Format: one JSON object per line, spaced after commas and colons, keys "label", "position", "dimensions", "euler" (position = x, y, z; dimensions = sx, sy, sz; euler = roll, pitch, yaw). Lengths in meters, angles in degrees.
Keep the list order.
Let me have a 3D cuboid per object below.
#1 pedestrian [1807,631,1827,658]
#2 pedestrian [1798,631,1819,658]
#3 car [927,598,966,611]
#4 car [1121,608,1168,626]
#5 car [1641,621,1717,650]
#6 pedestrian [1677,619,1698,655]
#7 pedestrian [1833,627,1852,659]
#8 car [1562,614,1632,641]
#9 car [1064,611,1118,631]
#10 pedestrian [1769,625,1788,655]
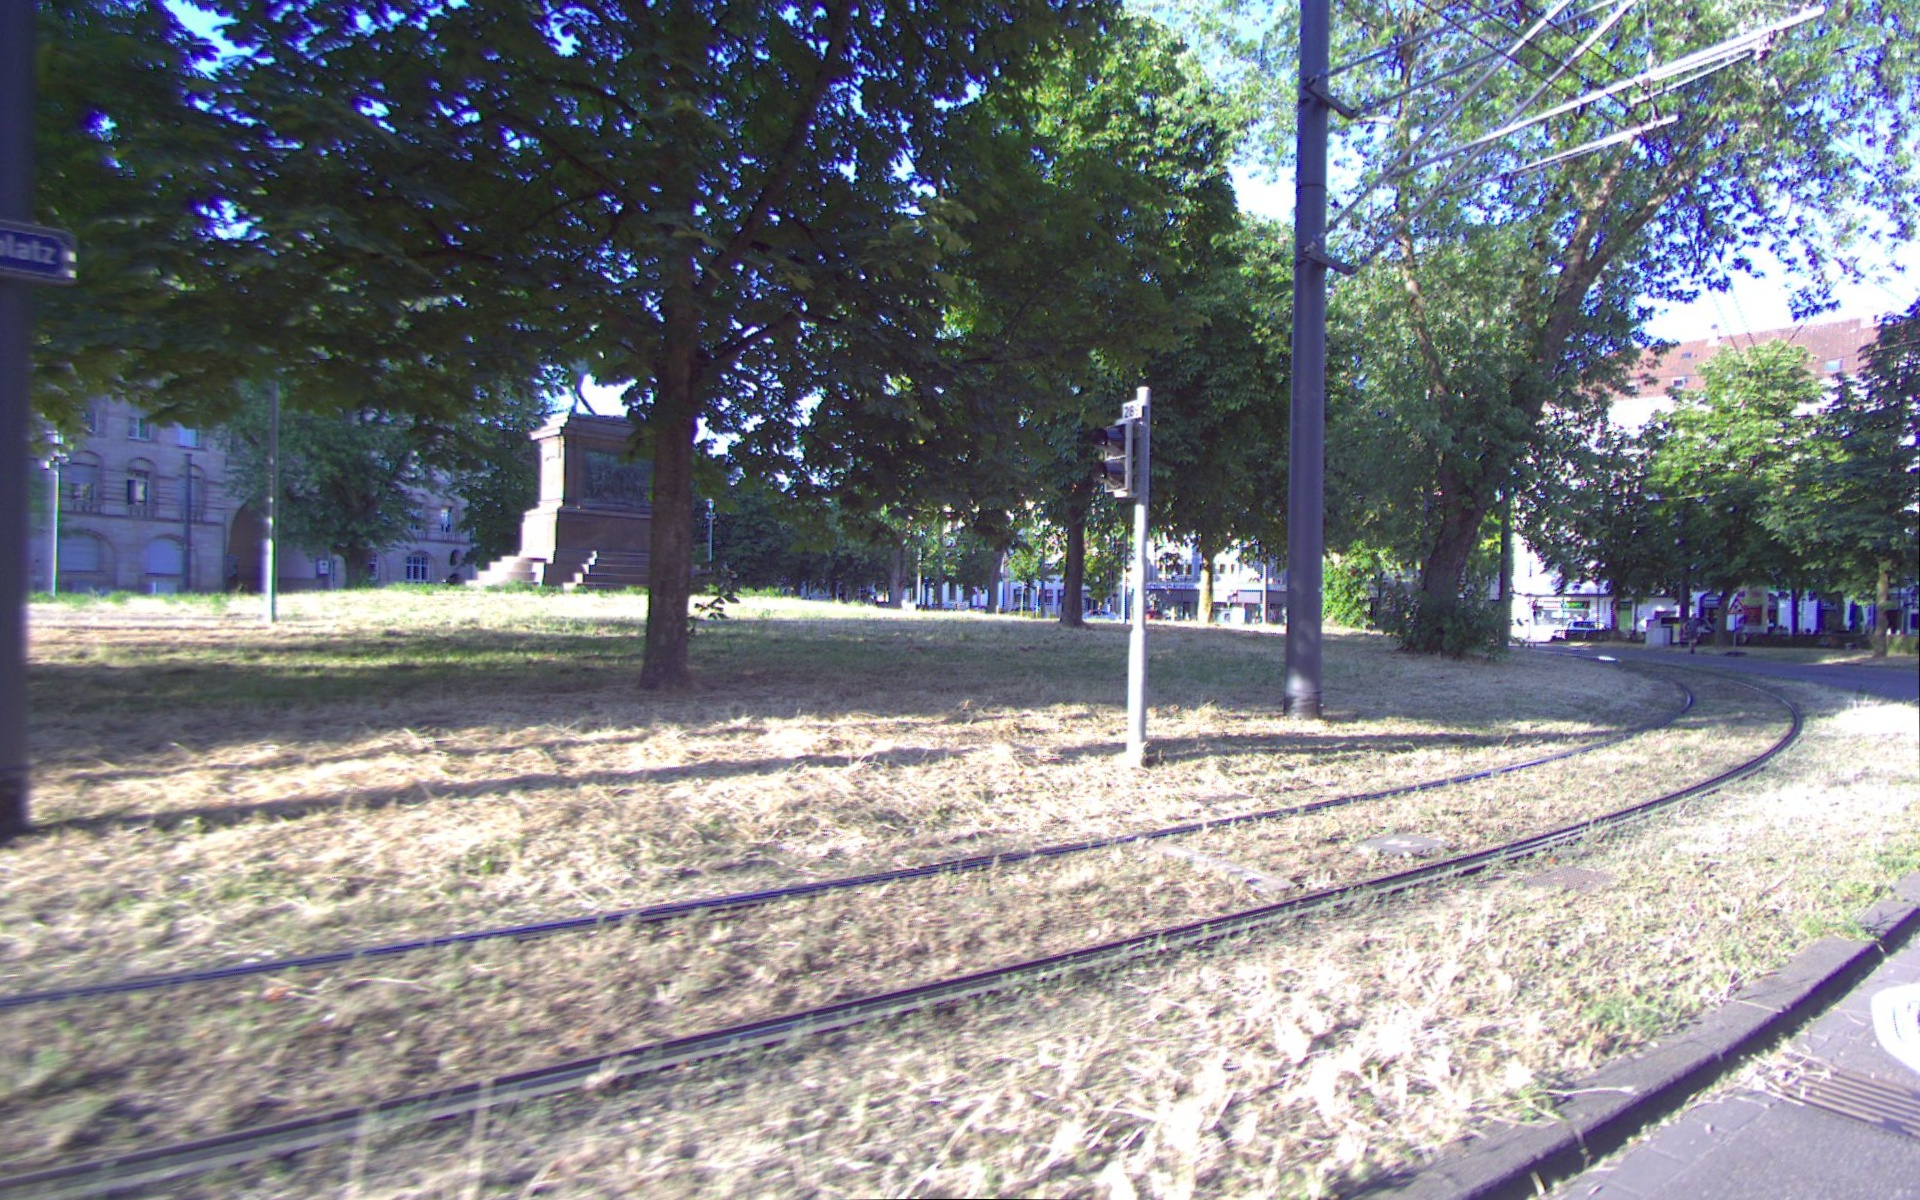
{"label": "pedestrian", "position": [45.787, 2.379, 53.665], "dimensions": [0.653, 1.370, 0.662], "euler": [1, 0, -35]}
{"label": "pedestrian", "position": [44.927, 2.354, 53.179], "dimensions": [0.653, 1.370, 0.662], "euler": [1, 0, -35]}
{"label": "car", "position": [-1.440, 0.454, 107.201], "dimensions": [3.901, 1.272, 1.598], "euler": [2, 1, 35]}
{"label": "car", "position": [17.679, 1.621, 96.237], "dimensions": [3.945, 1.483, 1.988], "euler": [2, 0, 44]}
{"label": "car", "position": [44.737, 2.195, 62.538], "dimensions": [3.575, 1.573, 1.652], "euler": [2, 0, 45]}
{"label": "pedestrian", "position": [32.561, 1.654, 44.987], "dimensions": [0.550, 1.587, 0.594], "euler": [2, 1, 19]}
{"label": "pedestrian", "position": [43.451, 2.124, 49.464], "dimensions": [0.653, 1.517, 0.530], "euler": [1, 0, -35]}
{"label": "car", "position": [41.721, 1.801, 65.812], "dimensions": [3.575, 1.573, 1.652], "euler": [2, 0, 45]}
{"label": "car", "position": [10.489, 1.695, 80.482], "dimensions": [3.888, 1.483, 1.588], "euler": [2, 0, -15]}
{"label": "pedestrian", "position": [42.124, 2.041, 51.693], "dimensions": [0.653, 1.517, 0.530], "euler": [1, 0, -35]}
